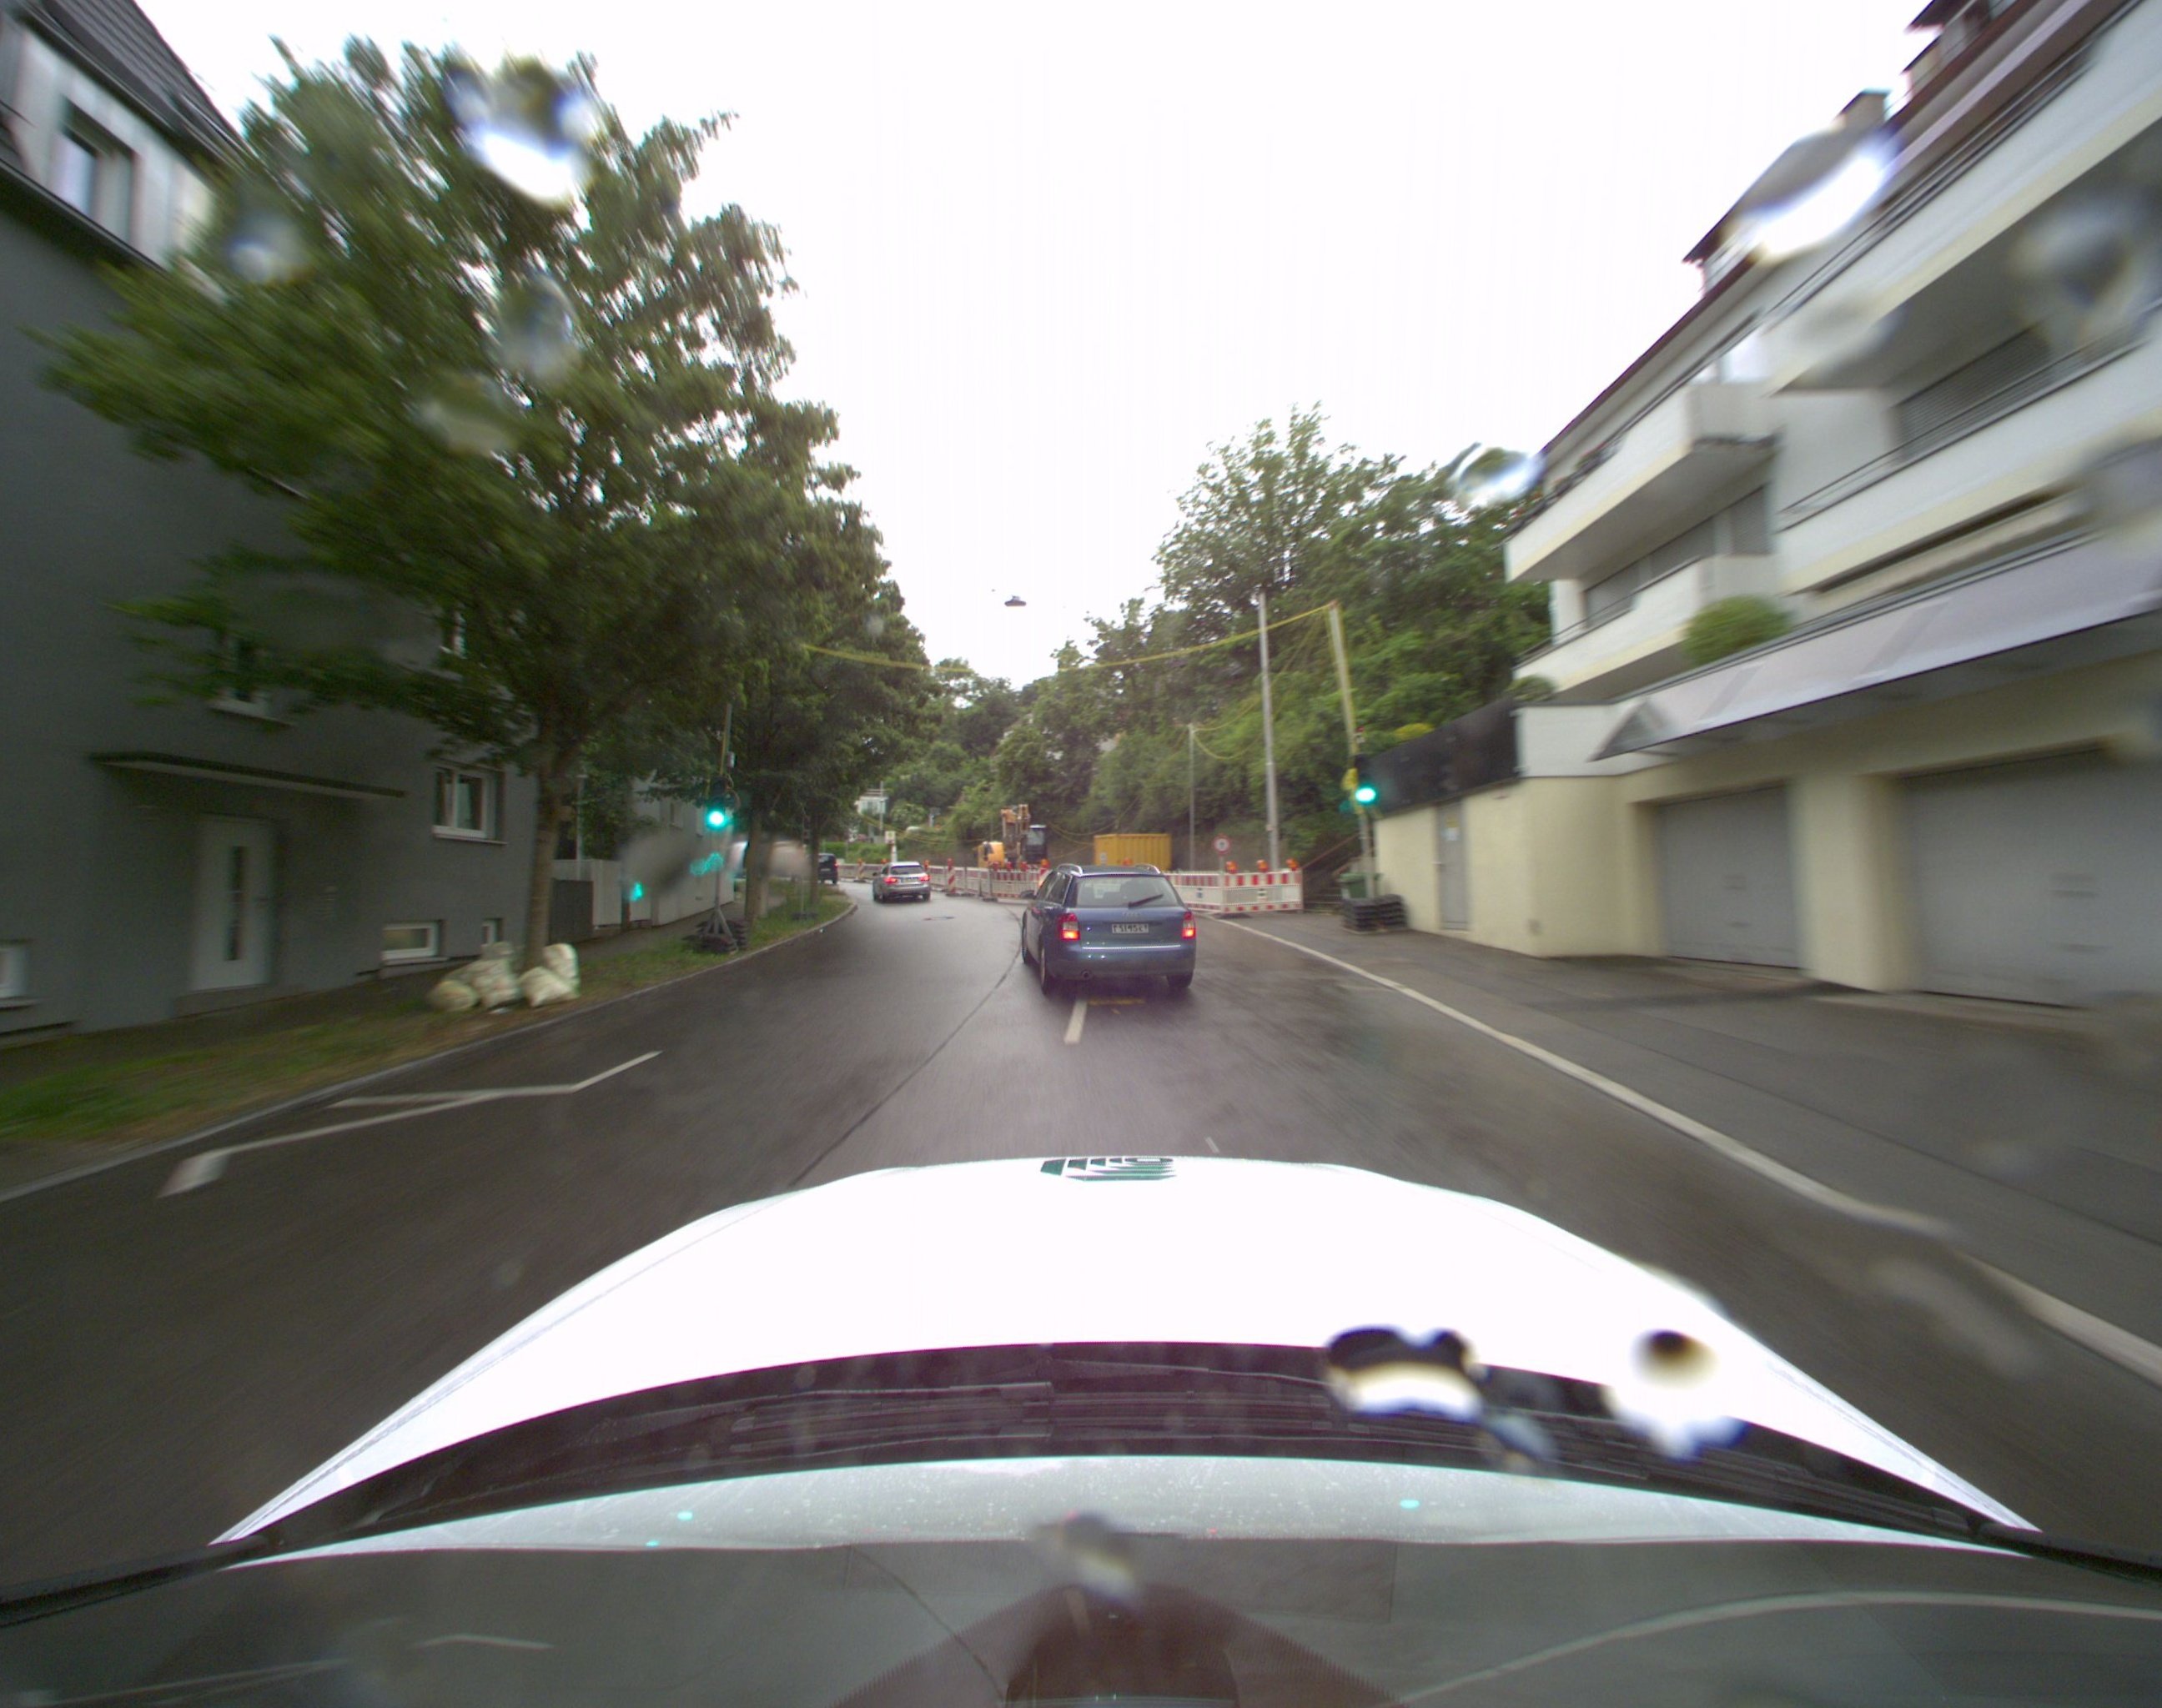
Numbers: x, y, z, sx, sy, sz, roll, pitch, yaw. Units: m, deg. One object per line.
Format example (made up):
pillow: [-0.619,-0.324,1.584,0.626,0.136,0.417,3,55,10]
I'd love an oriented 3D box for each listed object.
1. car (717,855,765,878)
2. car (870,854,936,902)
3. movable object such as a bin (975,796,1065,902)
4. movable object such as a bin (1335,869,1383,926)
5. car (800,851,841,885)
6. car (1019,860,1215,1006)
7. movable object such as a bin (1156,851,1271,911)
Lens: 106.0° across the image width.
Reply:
car: [-24.904,0.909,59.536,4.025,1.486,1.737,-4,-1,44]
car: [-6.890,0.866,31.201,1.932,1.618,4.292,-2,0,-19]
movable object such as a bin: [-2.802,-0.205,34.965,2.821,4.014,7.297,-2,0,-12]
movable object such as a bin: [5.317,0.826,15.610,0.716,1.032,0.593,-3,0,5]
car: [-15.626,0.852,48.725,2.002,1.794,3.970,-3,0,-22]
car: [0.241,0.827,10.421,1.785,1.442,3.952,-1,0,-8]
movable object such as a bin: [3.720,0.701,23.644,1.995,1.519,3.984,-1,1,-12]
